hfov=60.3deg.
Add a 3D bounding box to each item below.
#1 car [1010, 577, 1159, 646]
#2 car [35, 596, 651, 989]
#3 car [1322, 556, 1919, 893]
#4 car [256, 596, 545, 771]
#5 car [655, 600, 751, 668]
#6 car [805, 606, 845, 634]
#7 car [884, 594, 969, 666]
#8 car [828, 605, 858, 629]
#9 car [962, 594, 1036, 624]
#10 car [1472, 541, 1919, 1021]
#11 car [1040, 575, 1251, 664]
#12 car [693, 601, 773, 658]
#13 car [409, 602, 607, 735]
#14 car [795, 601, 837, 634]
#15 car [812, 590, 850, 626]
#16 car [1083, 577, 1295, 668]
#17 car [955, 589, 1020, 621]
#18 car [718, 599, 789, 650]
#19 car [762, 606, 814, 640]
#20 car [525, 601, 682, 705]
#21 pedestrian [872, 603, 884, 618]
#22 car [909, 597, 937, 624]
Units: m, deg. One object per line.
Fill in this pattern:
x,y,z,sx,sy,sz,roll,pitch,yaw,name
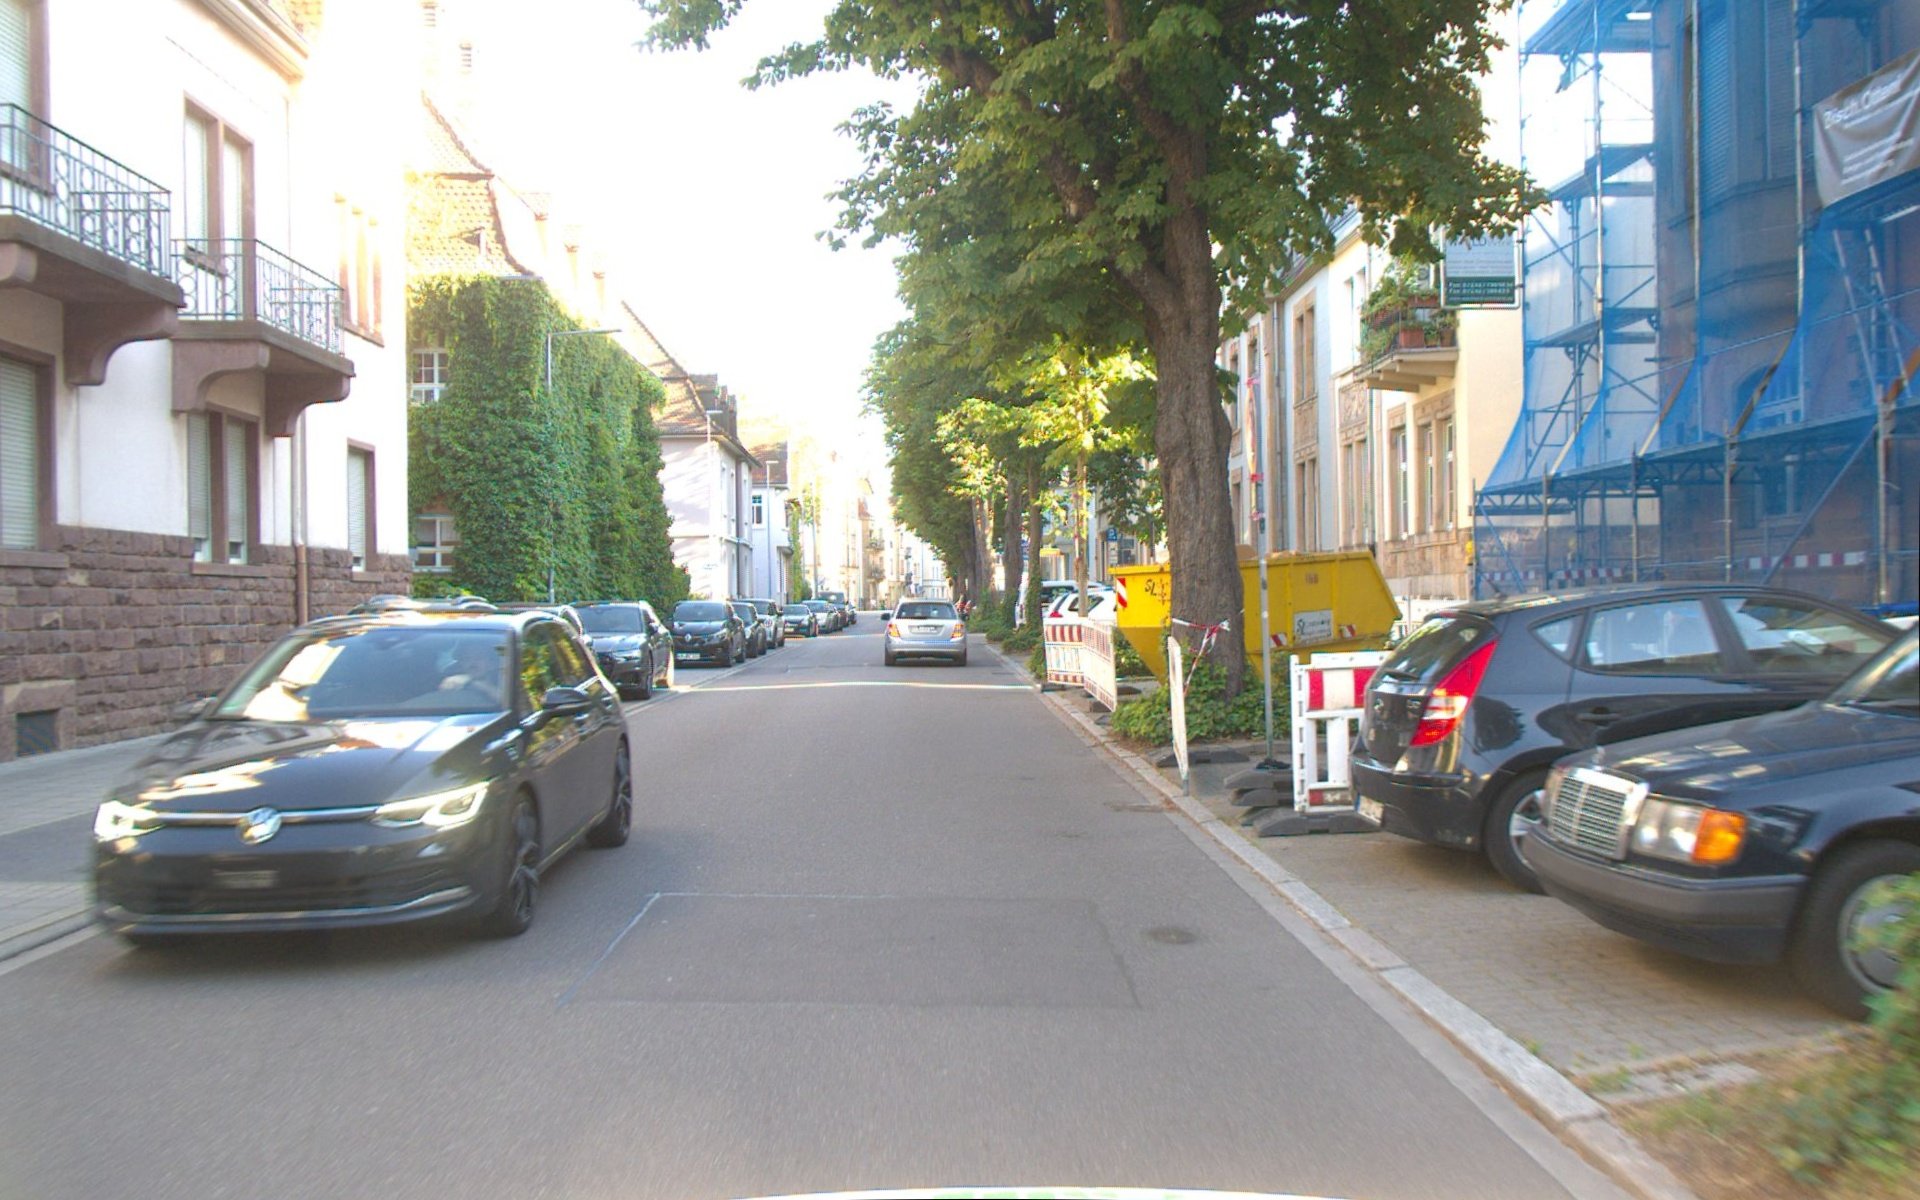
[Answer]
3.703,0.347,49.768,4.227,1.838,1.999,-3,0,-2,car
-2.797,0.751,8.516,1.736,1.474,3.999,-2,0,-2,car
4.152,0.573,8.997,3.906,1.518,1.851,-3,0,0,car
-5.328,0.721,16.240,1.620,1.512,3.763,0,0,-1,car
-5.750,0.730,37.397,1.616,1.445,4.097,0,0,-1,car
-6.624,0.982,81.473,1.499,1.342,4.227,0,-1,1,car
-0.711,0.632,35.694,1.747,1.462,3.850,0,-1,-1,car
-7.300,1.032,103.698,1.660,1.472,4.356,0,0,-1,car
2.225,0.527,94.269,4.104,1.501,1.852,-3,0,1,car
4.646,0.513,6.521,4.623,1.562,1.850,-3,0,-2,car
3.716,0.386,33.583,4.059,1.561,1.687,-3,0,0,car
-5.912,0.741,43.373,1.652,1.404,3.720,0,0,-1,car
-5.491,0.771,20.520,1.621,1.472,3.841,0,0,-4,car
-6.641,0.804,76.385,1.620,1.471,3.959,0,0,-1,car
-7.205,0.420,92.831,1.942,1.982,4.849,0,0,-2,car
4.242,0.404,31.118,3.771,1.488,1.687,-3,0,3,car
1.832,0.345,110.826,4.136,1.929,1.904,-2,0,-4,car
-6.204,0.704,50.050,1.669,1.486,3.917,0,0,0,car
-6.956,0.932,67.230,1.619,1.347,4.045,0,0,1,car
-5.547,0.763,26.282,1.757,1.487,4.774,0,0,-4,car
-9.596,1.211,193.735,1.195,1.752,1.503,0,0,2,pedestrian
-2.205,0.610,99.523,1.590,1.597,3.679,-1,0,-1,car
